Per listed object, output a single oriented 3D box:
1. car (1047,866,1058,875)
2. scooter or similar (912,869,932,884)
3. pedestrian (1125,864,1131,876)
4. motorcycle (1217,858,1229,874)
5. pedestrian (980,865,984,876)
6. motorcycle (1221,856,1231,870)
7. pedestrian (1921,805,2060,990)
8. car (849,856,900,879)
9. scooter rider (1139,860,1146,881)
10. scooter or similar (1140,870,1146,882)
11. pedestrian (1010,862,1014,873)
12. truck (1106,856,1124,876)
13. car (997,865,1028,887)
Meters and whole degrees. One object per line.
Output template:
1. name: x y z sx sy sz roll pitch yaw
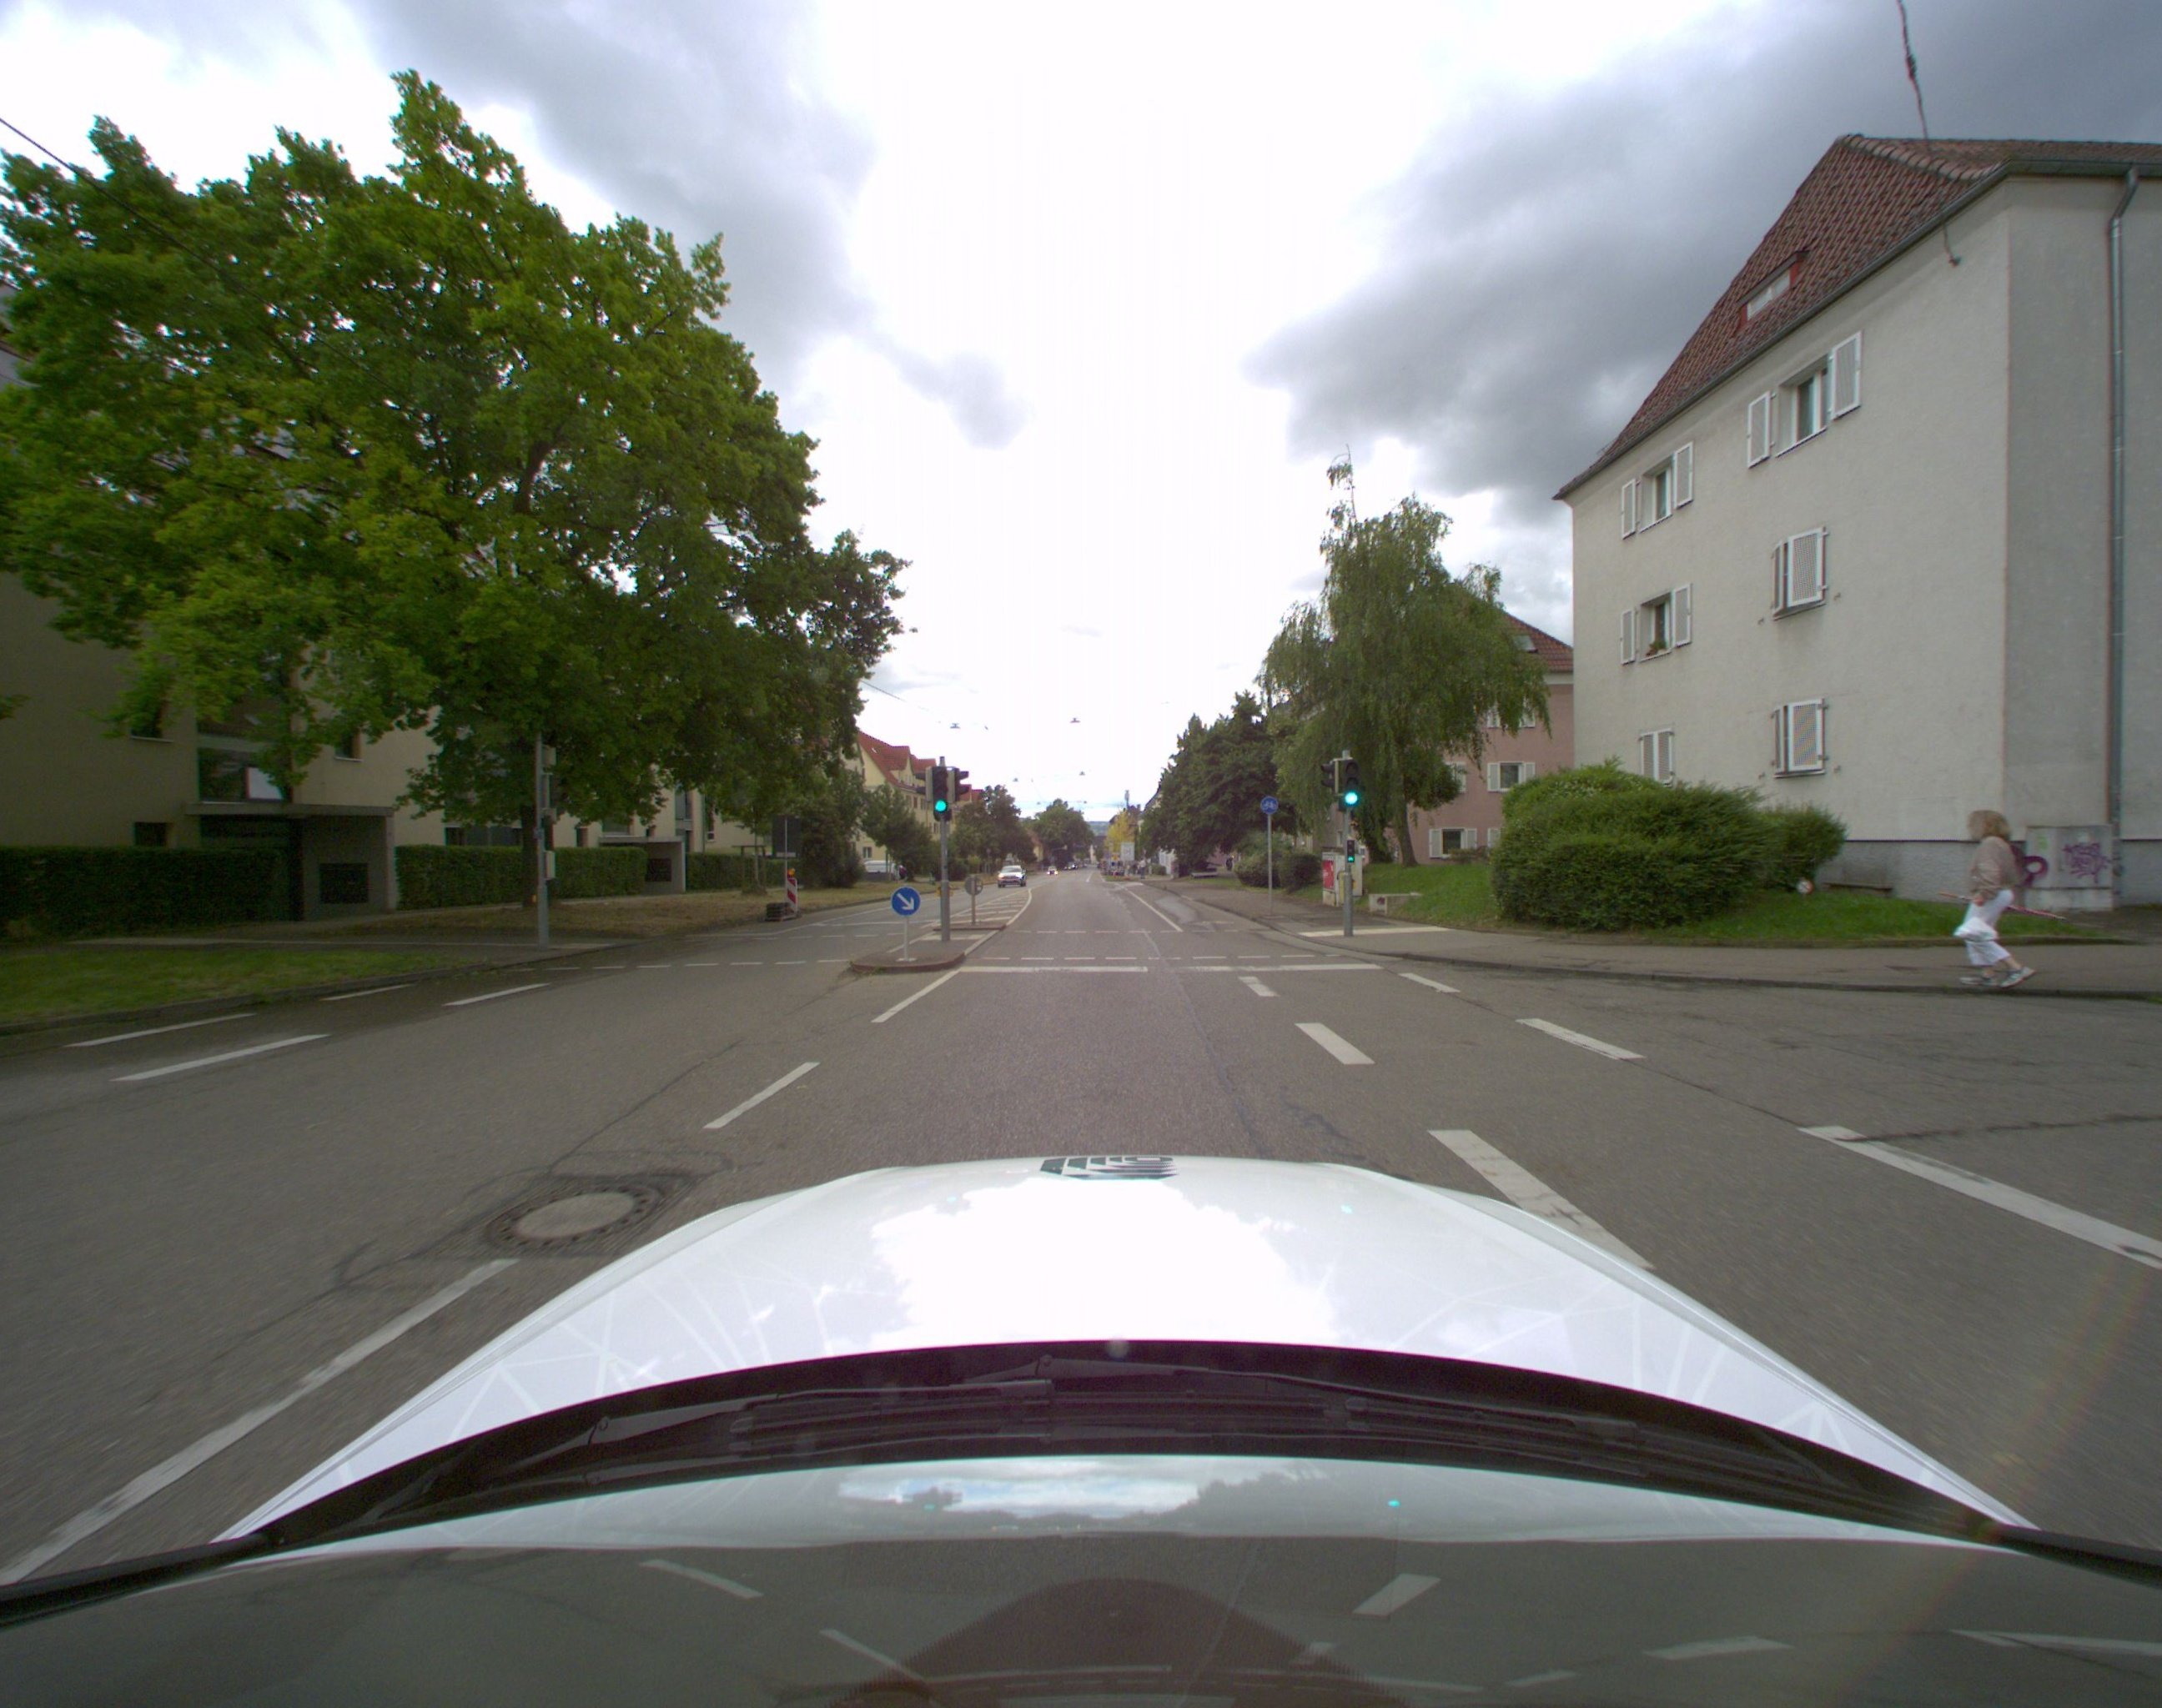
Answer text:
1. car: -5.296 3.085 152.492 1.892 1.620 4.362 0 -1 1
2. scooter or similar: -11.483 1.618 58.971 1.367 1.086 0.466 -1 -1 -4
3. pedestrian: 6.612 2.241 114.638 0.577 1.644 0.559 0 -2 -14
4. motorcycle: 13.776 1.155 79.049 0.728 1.569 2.551 0 -1 1
5. pedestrian: -15.839 2.619 129.751 0.512 1.780 0.753 0 -1 0
6. motorcycle: 12.832 0.818 72.154 0.588 1.227 1.967 0 -1 0
7. pedestrian: 8.712 0.398 7.820 0.654 1.685 0.575 -3 1 1
8. car: -21.382 1.397 84.274 4.701 2.253 1.995 -1 -1 1
9. scooter rider: 5.903 1.549 78.411 0.623 2.014 0.757 0 -1 0
10. scooter or similar: 5.974 2.121 78.318 0.489 1.163 2.074 0 -1 0
11. pedestrian: -11.717 2.288 138.919 0.595 1.727 0.862 0 -1 3
12. truck: 4.467 1.604 107.839 2.046 2.565 5.688 0 -1 0
13. car: -4.803 1.539 57.456 1.796 1.464 4.028 -2 -1 0
